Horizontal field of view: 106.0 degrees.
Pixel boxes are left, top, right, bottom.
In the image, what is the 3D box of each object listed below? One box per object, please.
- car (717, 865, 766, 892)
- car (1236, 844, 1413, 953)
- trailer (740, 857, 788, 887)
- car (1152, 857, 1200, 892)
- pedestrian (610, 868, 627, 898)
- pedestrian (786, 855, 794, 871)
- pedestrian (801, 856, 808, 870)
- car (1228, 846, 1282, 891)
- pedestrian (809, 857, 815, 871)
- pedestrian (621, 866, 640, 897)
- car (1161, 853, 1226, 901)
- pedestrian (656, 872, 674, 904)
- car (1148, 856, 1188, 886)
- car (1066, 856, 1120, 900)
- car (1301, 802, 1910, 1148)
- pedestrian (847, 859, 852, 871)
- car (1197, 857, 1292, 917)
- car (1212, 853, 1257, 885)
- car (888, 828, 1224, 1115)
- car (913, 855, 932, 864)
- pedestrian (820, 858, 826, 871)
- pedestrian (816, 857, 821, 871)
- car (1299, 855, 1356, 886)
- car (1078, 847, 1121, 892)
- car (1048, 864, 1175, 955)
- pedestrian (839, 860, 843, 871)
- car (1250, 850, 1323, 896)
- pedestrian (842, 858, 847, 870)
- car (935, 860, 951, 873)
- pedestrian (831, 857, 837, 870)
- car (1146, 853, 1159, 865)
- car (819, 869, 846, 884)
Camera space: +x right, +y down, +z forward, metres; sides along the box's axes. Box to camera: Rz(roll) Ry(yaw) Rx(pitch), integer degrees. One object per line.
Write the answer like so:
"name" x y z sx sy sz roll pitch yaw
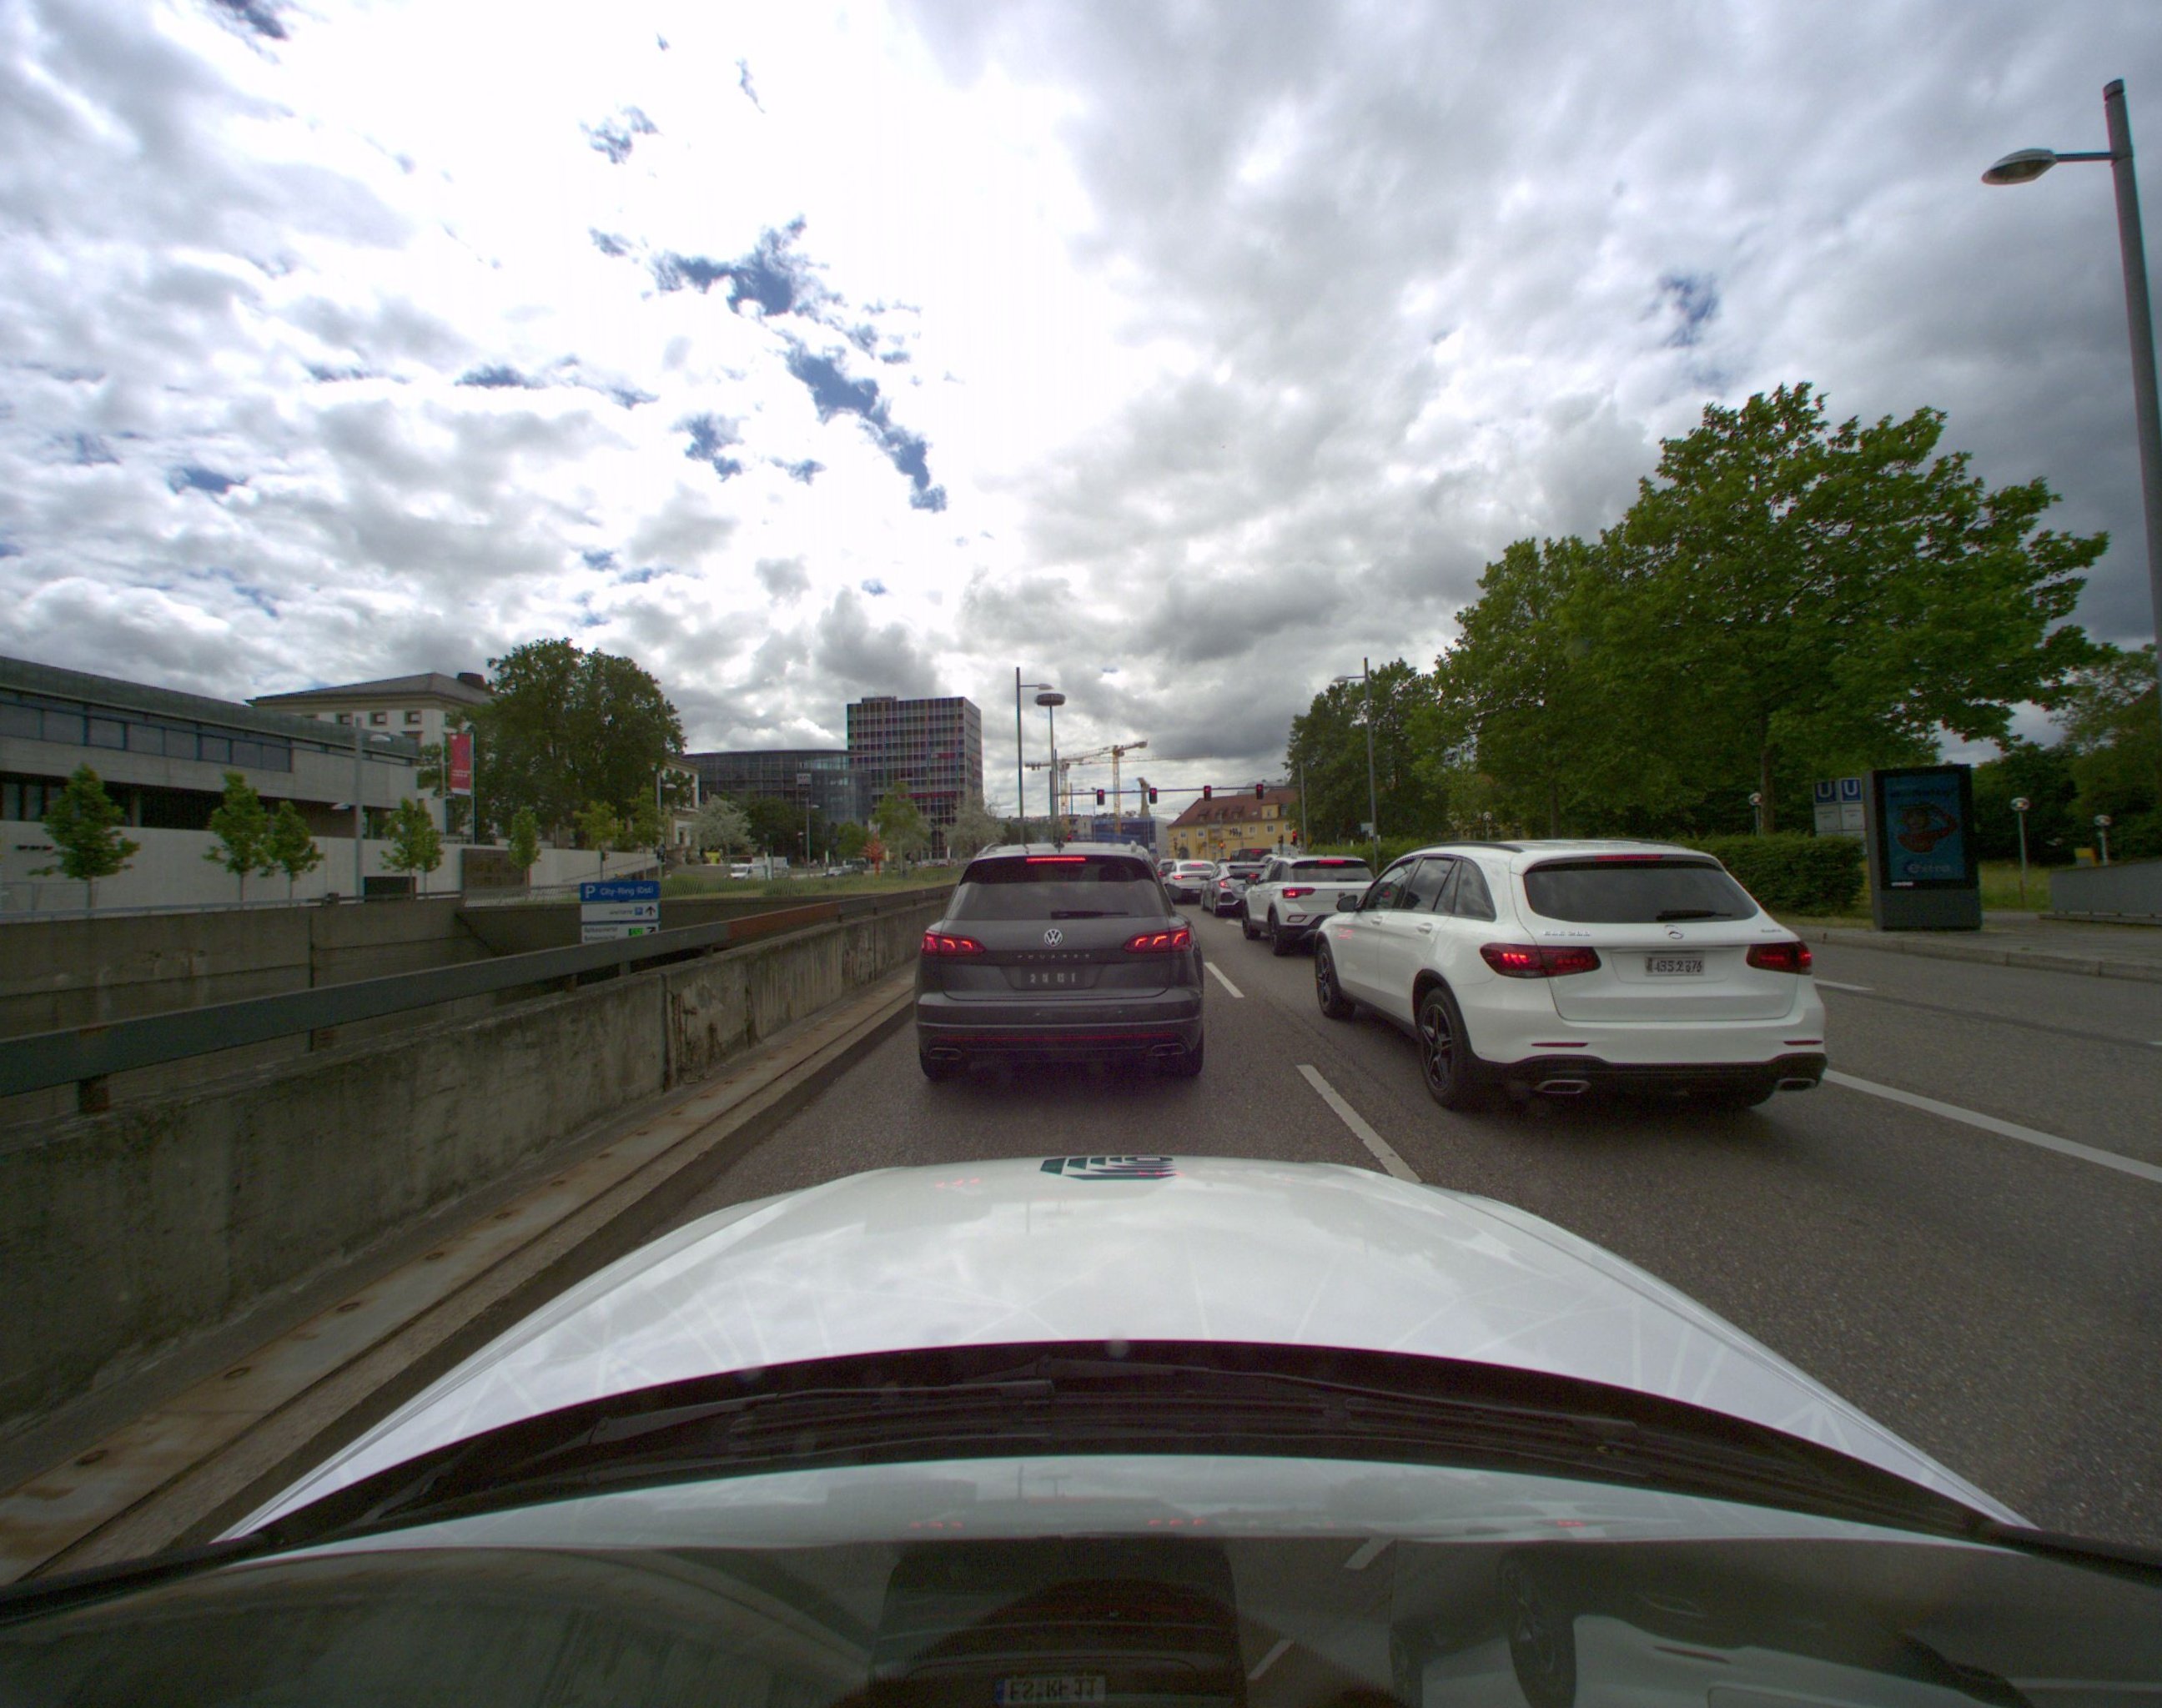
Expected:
"car" -28.820 2.043 69.283 1.985 2.013 4.695 -2 1 3
"car" 3.961 0.683 14.063 1.918 1.551 4.493 -1 -1 3
"trailer" -28.854 1.603 74.406 2.030 2.604 5.511 0 0 2
"car" 4.344 0.933 37.781 1.918 1.529 4.050 -1 -1 3
"pedestrian" -32.716 2.062 57.585 0.729 2.012 0.628 -2 4 -6
"pedestrian" -38.601 1.171 107.941 0.736 2.014 0.792 -2 -3 -2
"pedestrian" -40.806 1.361 120.148 0.735 2.013 0.793 -2 1 2
"car" 8.264 0.681 39.059 1.902 2.014 4.014 0 -1 3
"pedestrian" -41.623 1.533 126.088 0.740 2.013 0.915 -2 1 -17
"pedestrian" -30.422 1.830 55.024 0.835 2.013 0.789 -2 0 -14
"car" 3.909 0.791 28.966 1.918 1.529 4.493 -1 -1 3
"pedestrian" -27.505 2.230 53.860 0.867 2.013 0.621 -2 1 -42
"car" 4.662 0.923 44.066 1.918 1.529 4.050 -1 -1 3
"car" 0.482 0.871 31.153 1.944 1.600 3.932 0 0 1
"car" 3.156 0.611 6.227 1.918 1.653 4.493 -1 0 3
"pedestrian" -40.577 1.884 142.664 0.739 2.013 0.789 -2 1 -14
"car" 4.322 0.848 22.225 1.918 1.432 4.493 -1 -1 3
"car" 8.348 0.816 44.639 1.902 1.697 4.014 0 -1 3
"car" -0.092 0.701 6.785 1.944 1.651 4.001 -1 0 1
"car" -37.663 1.377 193.630 4.402 2.014 2.012 -1 -2 36
"pedestrian" -40.612 1.601 128.113 0.741 2.013 1.076 -2 1 -20
"pedestrian" -40.715 1.545 126.335 0.740 2.013 0.915 -2 1 -17
"car" 11.973 0.814 39.869 1.921 1.460 4.535 0 -1 7
"car" 0.879 0.708 38.685 1.944 2.018 3.932 0 0 1
"car" 0.531 0.877 14.510 1.944 1.384 3.932 0 0 1
"pedestrian" -45.021 2.082 152.765 0.741 2.013 0.787 -2 1 -20
"car" 7.997 0.703 32.142 1.985 1.640 4.308 -1 0 3
"pedestrian" -41.426 1.763 142.622 0.739 2.013 0.789 -2 1 -14
"car" -24.055 2.127 142.586 1.987 2.013 4.690 -2 1 -1
"pedestrian" -39.450 1.541 130.124 0.739 2.013 0.789 -2 1 -14
"car" 9.704 0.725 111.365 1.612 1.627 4.002 0 -2 3
"car" -25.646 2.347 84.162 1.727 1.495 3.594 0 -2 0
